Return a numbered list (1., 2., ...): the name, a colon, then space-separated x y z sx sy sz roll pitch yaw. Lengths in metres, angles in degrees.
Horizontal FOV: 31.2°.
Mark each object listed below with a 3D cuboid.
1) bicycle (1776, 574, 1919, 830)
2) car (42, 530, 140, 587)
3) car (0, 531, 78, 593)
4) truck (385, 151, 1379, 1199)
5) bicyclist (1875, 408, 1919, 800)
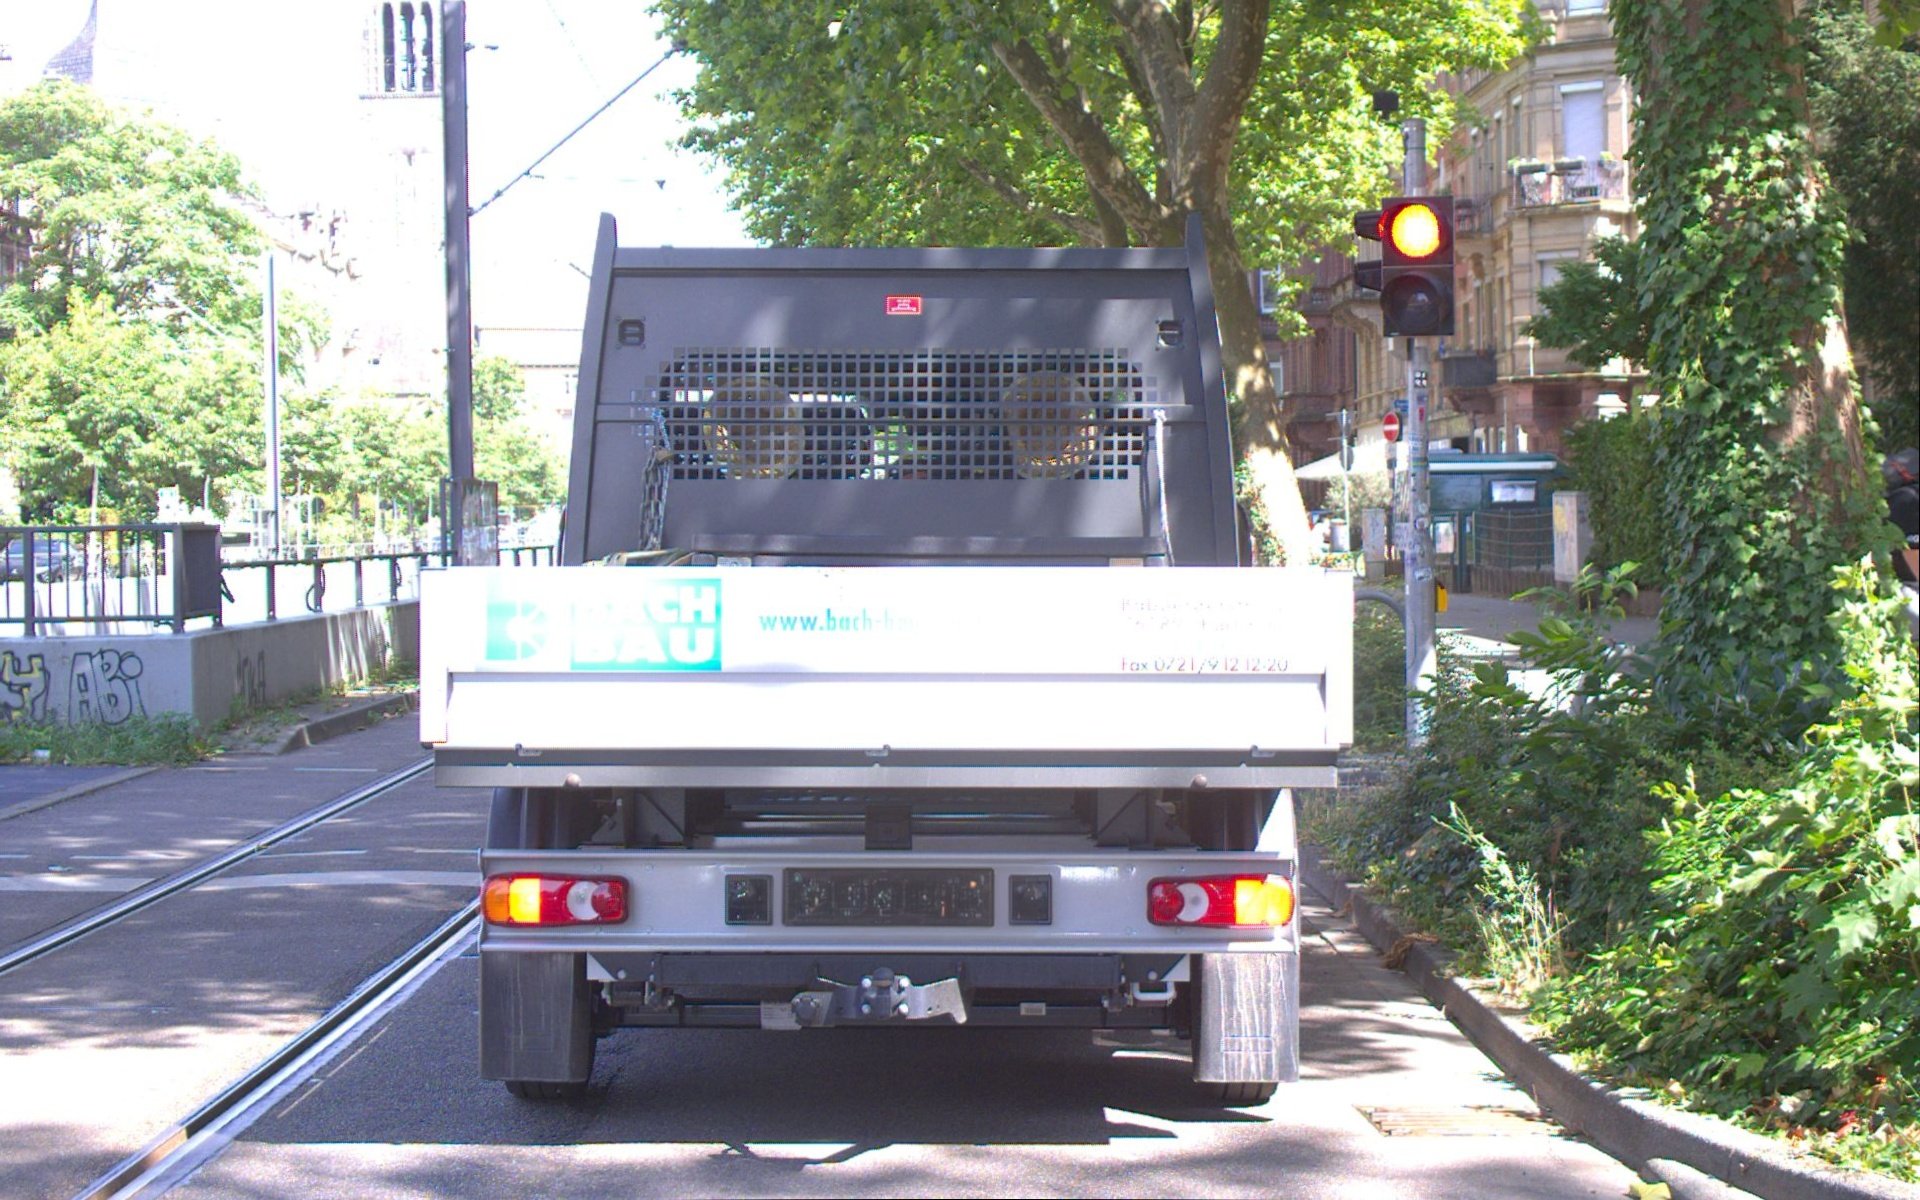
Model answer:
1. bicycle: 4.457 0.410 14.465 1.920 1.045 0.532 -1 1 5
2. car: -23.813 -1.158 94.304 1.770 1.493 4.001 -1 1 -2
3. car: -23.543 -0.978 86.468 1.770 1.493 4.001 -1 1 -2
4. truck: -0.166 0.140 9.728 2.138 2.311 4.402 1 1 0
5. bicyclist: 4.274 0.006 14.479 0.693 1.617 0.624 -1 1 5
